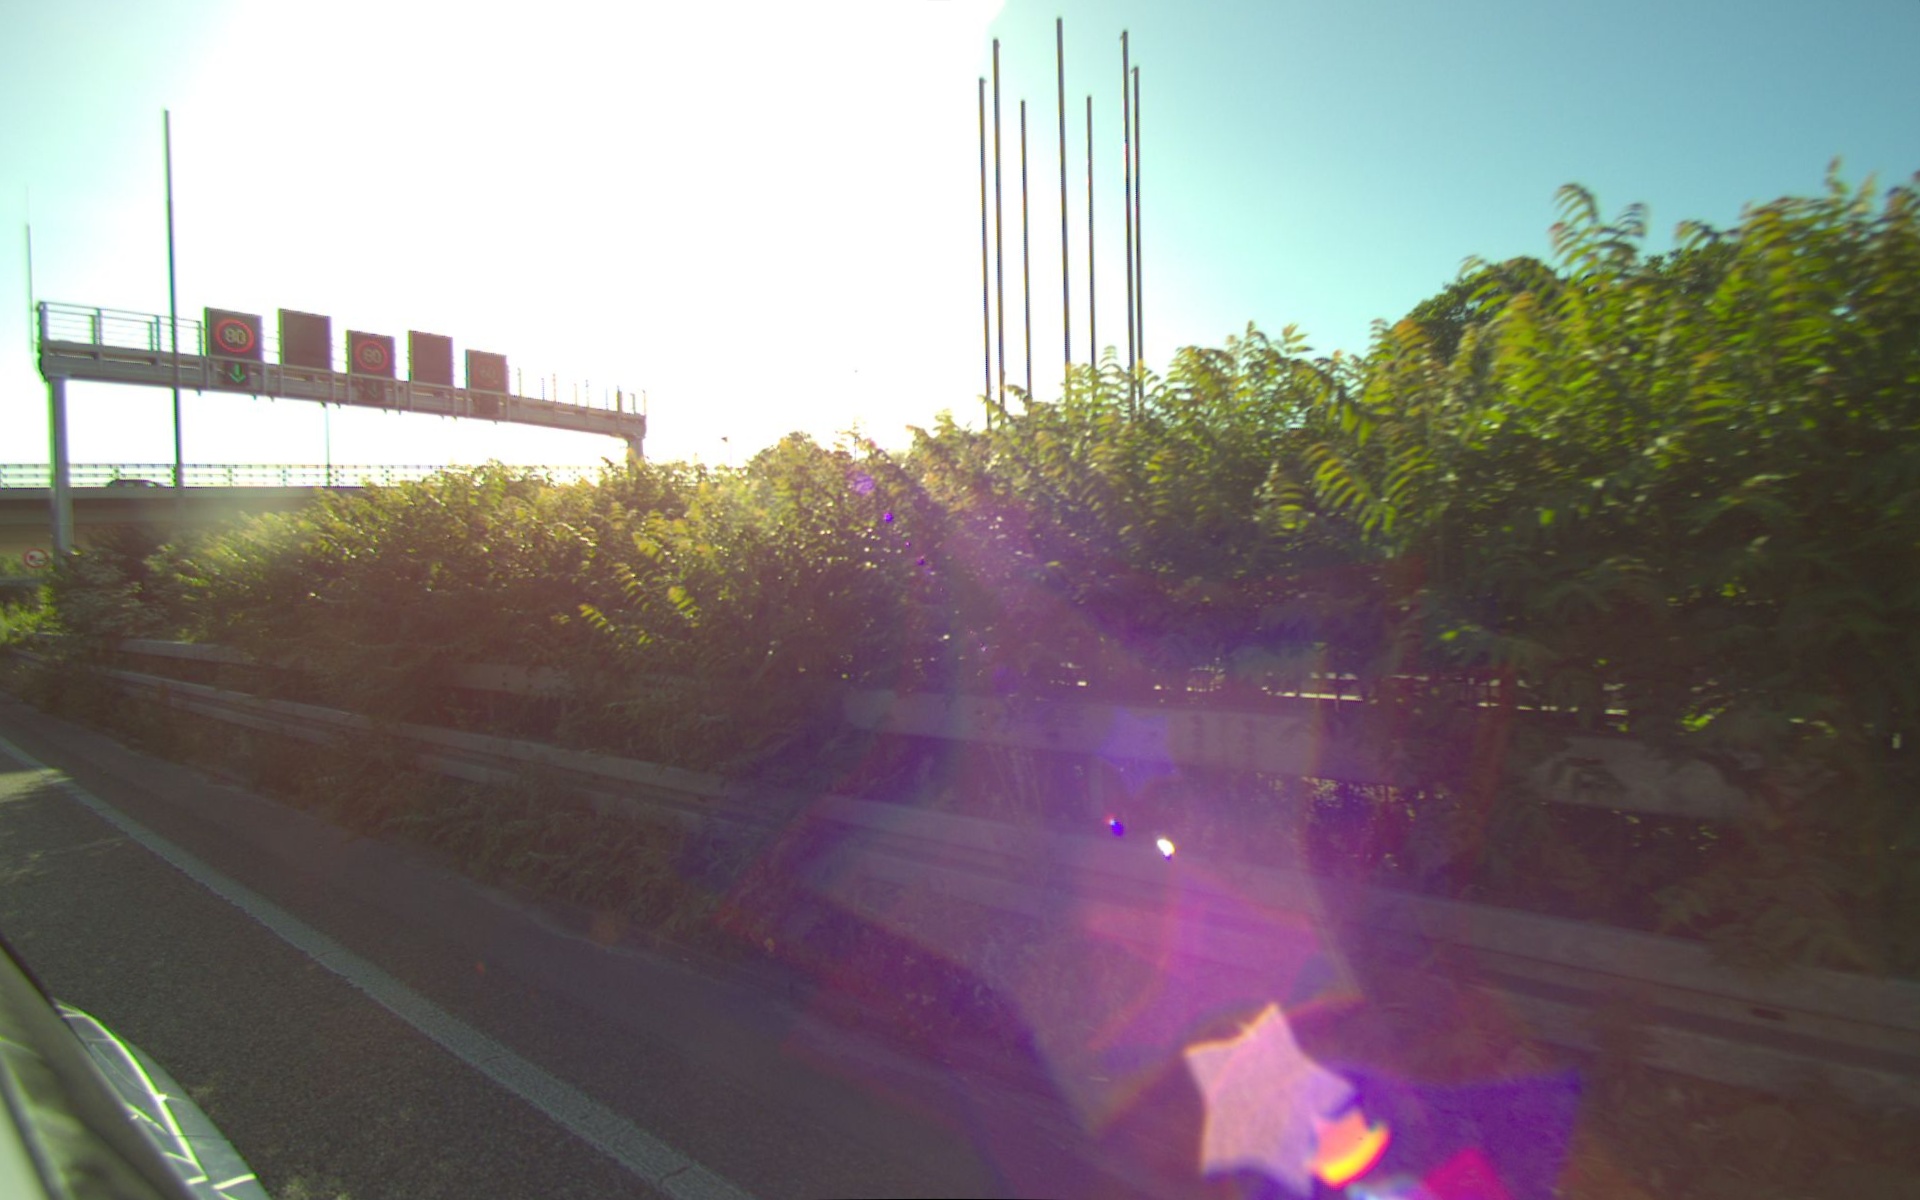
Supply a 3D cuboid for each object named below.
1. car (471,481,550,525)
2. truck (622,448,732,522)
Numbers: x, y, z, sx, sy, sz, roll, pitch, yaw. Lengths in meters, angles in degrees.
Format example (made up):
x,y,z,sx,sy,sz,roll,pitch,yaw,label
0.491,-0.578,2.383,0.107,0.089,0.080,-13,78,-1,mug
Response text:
x,y,z,sx,sy,sz,roll,pitch,yaw,label
-27.572,-5.912,62.229,4.289,2.430,2.006,-1,0,-20,car
-16.992,-6.843,60.796,6.164,4.102,2.006,-1,0,-20,truck
